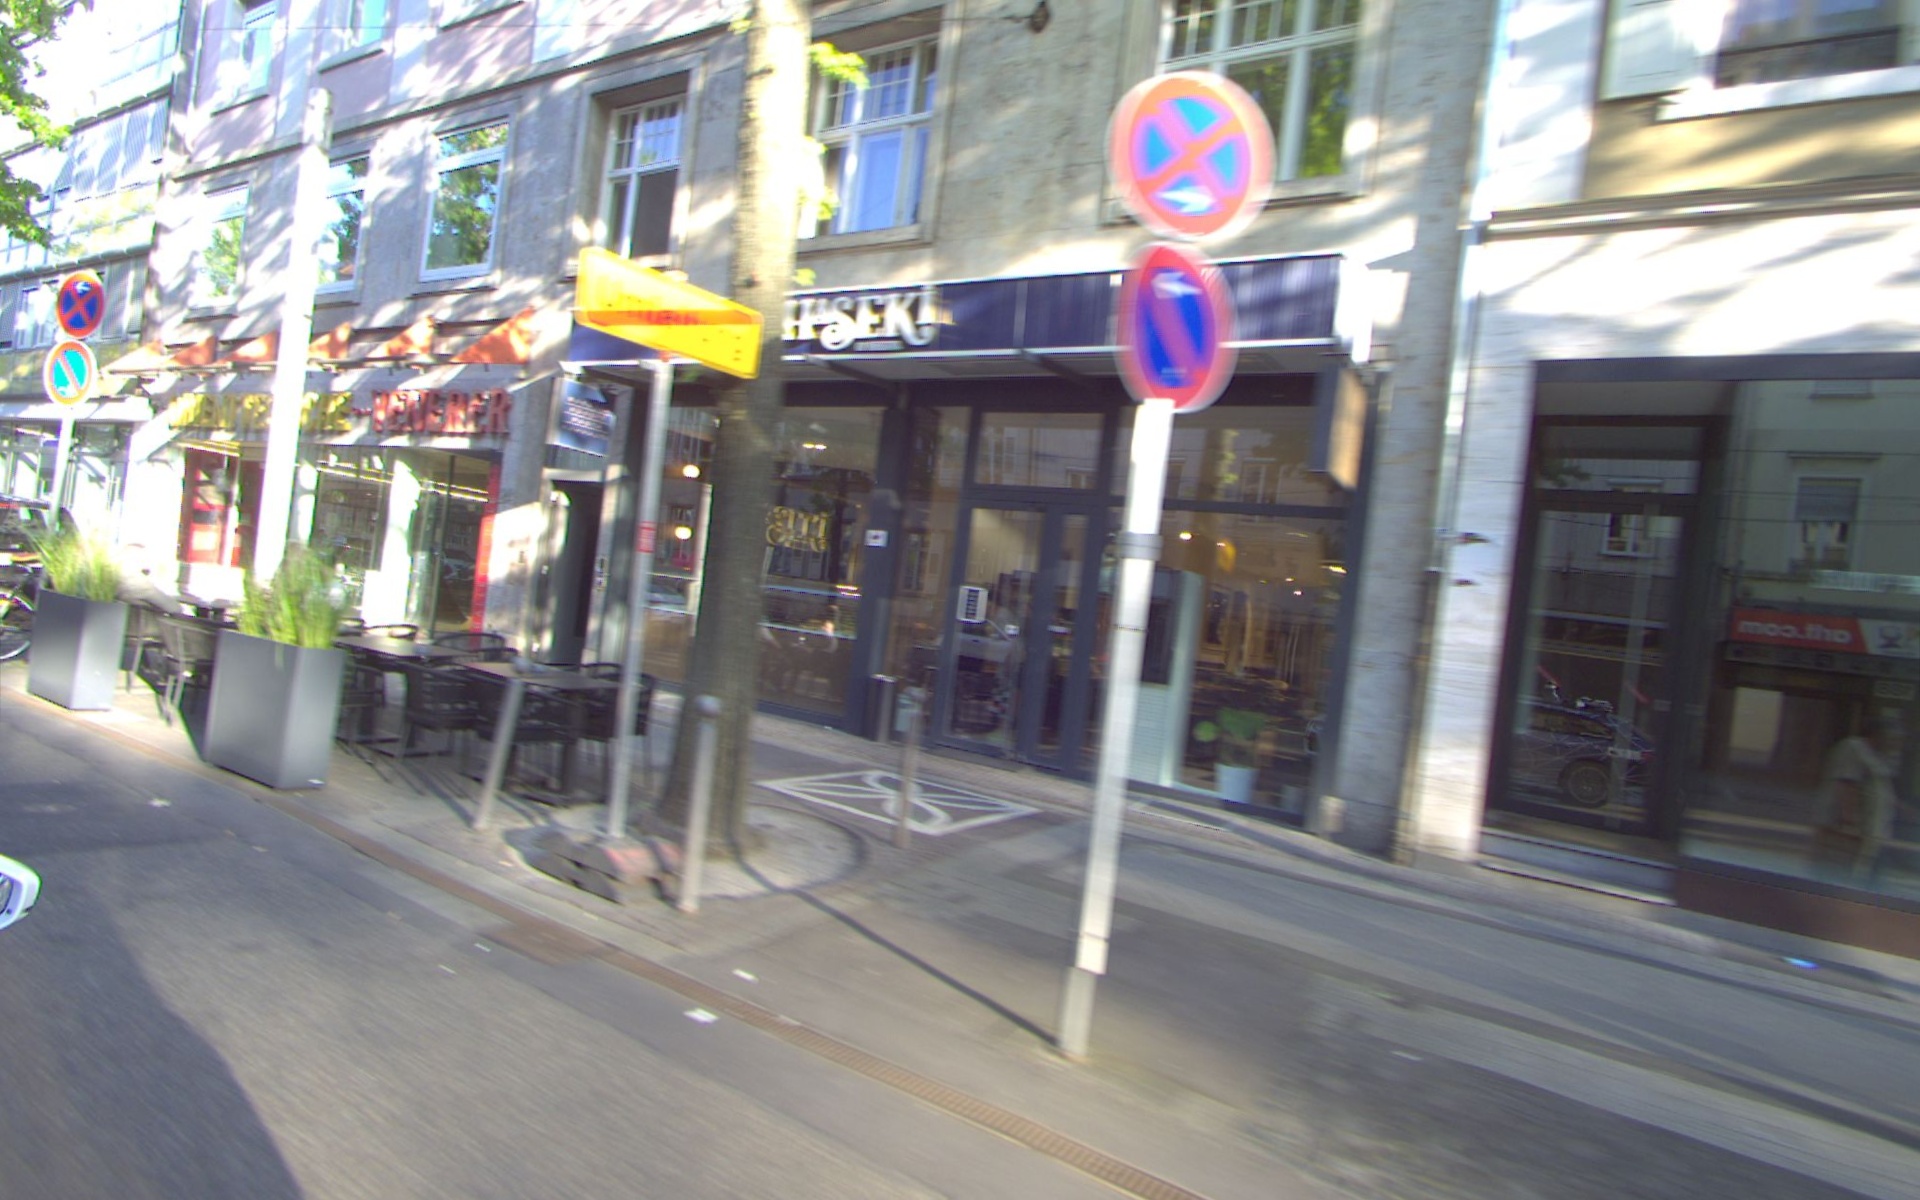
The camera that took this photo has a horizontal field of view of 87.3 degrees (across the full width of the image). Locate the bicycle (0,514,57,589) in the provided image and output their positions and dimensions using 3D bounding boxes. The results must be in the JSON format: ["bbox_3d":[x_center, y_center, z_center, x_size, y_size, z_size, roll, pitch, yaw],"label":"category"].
[{"bbox_3d":[-14.969,-0.790,15.154,0.699,1.088,1.860,7,1,22],"label":"bicycle"}]

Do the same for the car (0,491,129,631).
[{"bbox_3d":[-11.830,-0.583,11.960,3.592,1.477,1.802,7,2,30],"label":"car"}]

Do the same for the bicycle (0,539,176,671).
[{"bbox_3d":[-8.541,0.047,9.516,1.716,1.153,0.541,5,2,-38],"label":"bicycle"}]

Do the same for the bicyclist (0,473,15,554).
[{"bbox_3d":[-20.941,-1.900,21.662,0.589,1.706,0.639,7,2,30],"label":"bicyclist"}]

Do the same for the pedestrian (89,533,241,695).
[{"bbox_3d":[-6.803,0.135,8.620,0.577,1.281,0.817,7,1,37],"label":"pedestrian"}]

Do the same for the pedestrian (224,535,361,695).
[{"bbox_3d":[-6.425,0.143,9.726,0.734,1.404,0.709,7,1,-6],"label":"pedestrian"}]

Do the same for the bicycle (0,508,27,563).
[{"bbox_3d":[-20.876,-1.453,21.620,1.830,1.088,0.648,7,1,30],"label":"bicycle"}]
